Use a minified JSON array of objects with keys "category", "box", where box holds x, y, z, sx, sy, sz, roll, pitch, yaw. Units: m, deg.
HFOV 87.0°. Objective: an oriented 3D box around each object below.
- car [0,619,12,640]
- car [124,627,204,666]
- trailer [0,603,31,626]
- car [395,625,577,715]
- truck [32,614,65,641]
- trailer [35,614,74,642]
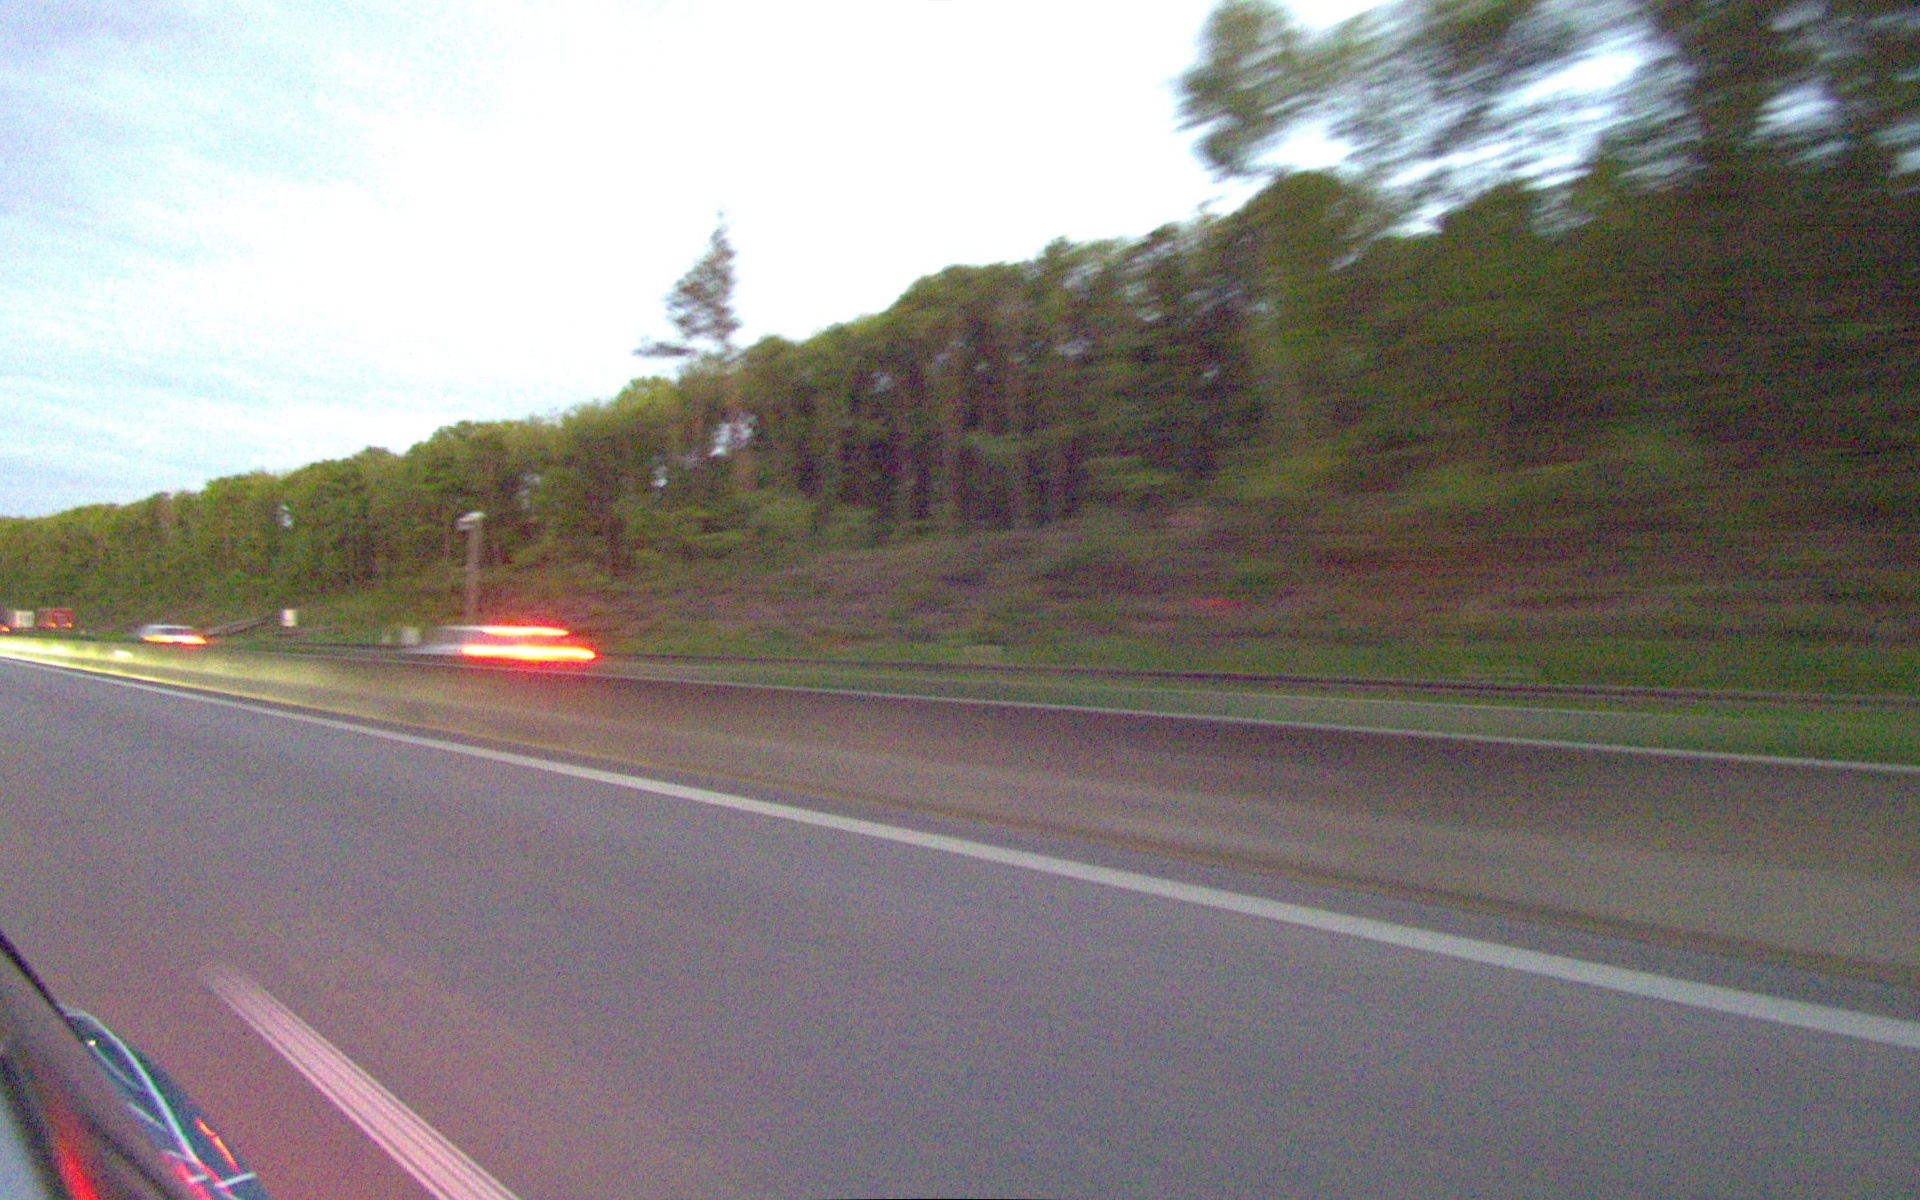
[{"category":"car","box":[-117.375,3.634,123.012,7.513,2.503,2.289,-2,-3,40]},{"category":"car","box":[-35.767,2.051,45.423,5.157,1.625,1.897,-1,-3,41]},{"category":"trailer","box":[-171.871,2.630,184.016,13.736,4.136,3.157,-1,-1,42]},{"category":"car","box":[-11.396,1.581,24.188,5.107,1.946,1.911,-1,-3,39]},{"category":"truck","box":[-145.723,4.377,161.697,7.688,4.136,3.157,-1,-1,42]},{"category":"trailer","box":[-140.969,4.285,157.441,14.181,4.136,3.157,-1,-1,42]}]
